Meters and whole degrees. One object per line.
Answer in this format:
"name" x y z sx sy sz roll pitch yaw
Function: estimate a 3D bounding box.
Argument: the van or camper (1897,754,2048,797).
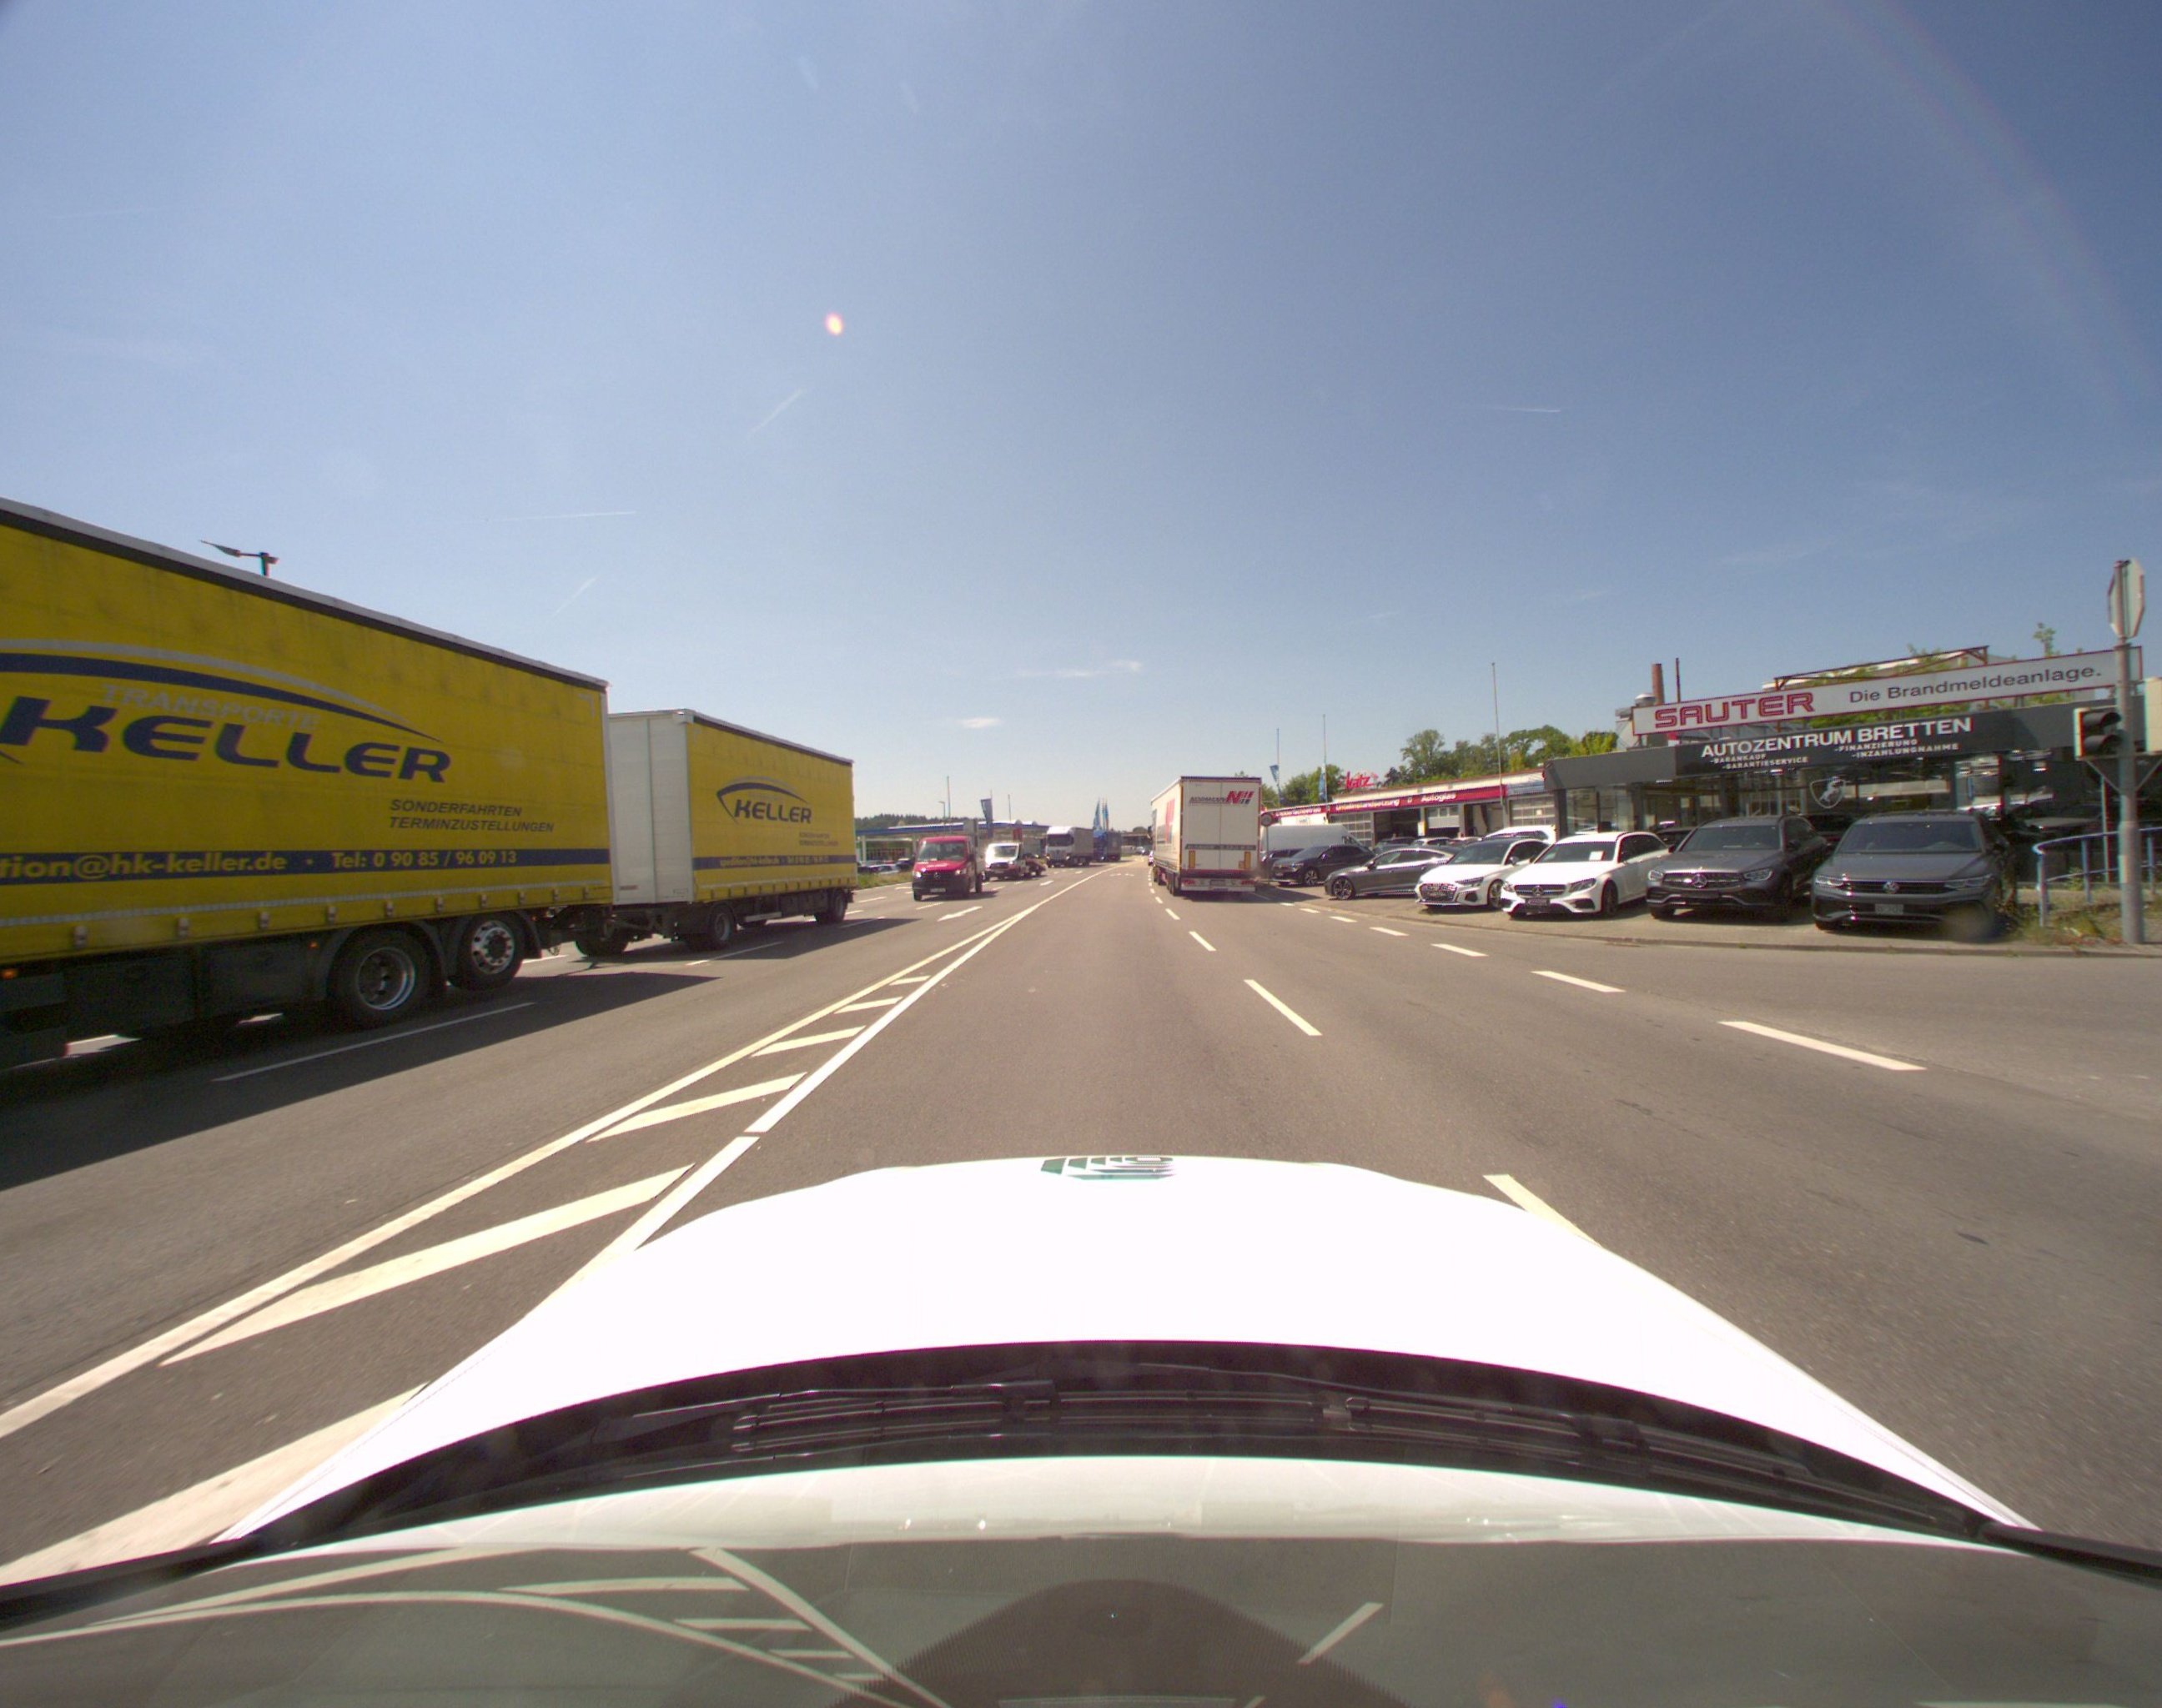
"van or camper" 36.733 -3.195 33.642 1.864 1.357 3.958 -1 0 -33

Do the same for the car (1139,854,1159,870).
"car" 7.267 0.879 87.118 1.915 1.610 4.098 -2 0 3

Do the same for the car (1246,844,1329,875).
"car" 10.609 0.260 42.006 3.795 1.499 1.855 -1 0 1

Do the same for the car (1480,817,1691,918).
"car" 10.330 0.199 16.542 4.762 1.552 1.978 -5 1 -37

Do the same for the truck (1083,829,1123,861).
"truck" 3.074 -1.125 108.056 2.827 3.889 17.052 -1 0 10

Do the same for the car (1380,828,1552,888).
"car" 11.281 0.157 24.074 1.864 1.420 4.116 -4 -2 -41

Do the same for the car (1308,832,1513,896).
"car" 9.032 0.320 22.716 1.938 1.387 4.875 -4 -2 -41

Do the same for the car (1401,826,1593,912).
"car" 9.740 0.295 18.974 4.490 1.409 1.730 -7 2 -29

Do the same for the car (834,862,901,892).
"car" -13.719 1.450 52.327 3.875 1.750 1.785 -3 0 -26

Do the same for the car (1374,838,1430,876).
"car" 14.538 0.102 37.091 1.796 1.528 4.400 -3 0 15

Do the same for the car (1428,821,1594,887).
"car" 13.348 0.035 25.465 1.864 1.714 4.098 -4 -2 -41

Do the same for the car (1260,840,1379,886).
"car" 9.710 0.354 33.144 4.346 1.624 2.045 -3 0 -24

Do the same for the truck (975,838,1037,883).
"truck" -4.316 0.338 48.167 2.412 2.340 5.685 -4 0 6

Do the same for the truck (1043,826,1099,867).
"truck" -0.770 -0.718 85.153 2.773 3.889 16.528 -1 0 10

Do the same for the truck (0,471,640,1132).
"truck" -8.112 -0.281 6.296 3.016 4.105 10.365 -3 0 4

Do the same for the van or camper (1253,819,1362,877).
"van or camper" 12.168 -0.338 44.048 5.342 2.905 2.236 -2 0 5

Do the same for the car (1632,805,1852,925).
"car" 11.802 0.124 14.469 4.193 1.691 1.864 -5 1 -35

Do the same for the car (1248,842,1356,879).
"car" 9.821 0.268 36.424 4.310 1.499 2.082 -1 0 1

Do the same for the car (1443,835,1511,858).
"car" 24.158 -0.459 49.706 3.597 1.374 1.668 0 0 -18

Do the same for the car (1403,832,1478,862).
"car" 22.963 -0.462 52.104 3.989 1.574 1.848 -5 1 -11

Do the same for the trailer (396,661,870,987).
"trailer" -7.454 -0.423 16.153 2.998 4.286 10.070 -3 0 4

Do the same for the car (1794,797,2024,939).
"car" 12.627 0.117 12.344 4.204 1.691 1.863 -5 1 -37

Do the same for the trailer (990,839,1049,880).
"trailer" -3.832 0.288 52.440 2.416 2.338 6.909 -4 0 6

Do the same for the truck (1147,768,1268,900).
"truck" 4.668 -0.676 34.251 2.961 4.093 17.644 -1 0 2

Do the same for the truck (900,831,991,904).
"truck" -4.999 0.460 31.239 2.389 2.444 6.869 -1 0 -1

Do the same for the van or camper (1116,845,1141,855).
"van or camper" 9.515 -0.874 163.193 4.815 1.905 1.911 -1 0 12

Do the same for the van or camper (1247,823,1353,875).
"van or camper" 12.389 -0.291 46.378 5.449 2.730 2.236 -2 0 5
